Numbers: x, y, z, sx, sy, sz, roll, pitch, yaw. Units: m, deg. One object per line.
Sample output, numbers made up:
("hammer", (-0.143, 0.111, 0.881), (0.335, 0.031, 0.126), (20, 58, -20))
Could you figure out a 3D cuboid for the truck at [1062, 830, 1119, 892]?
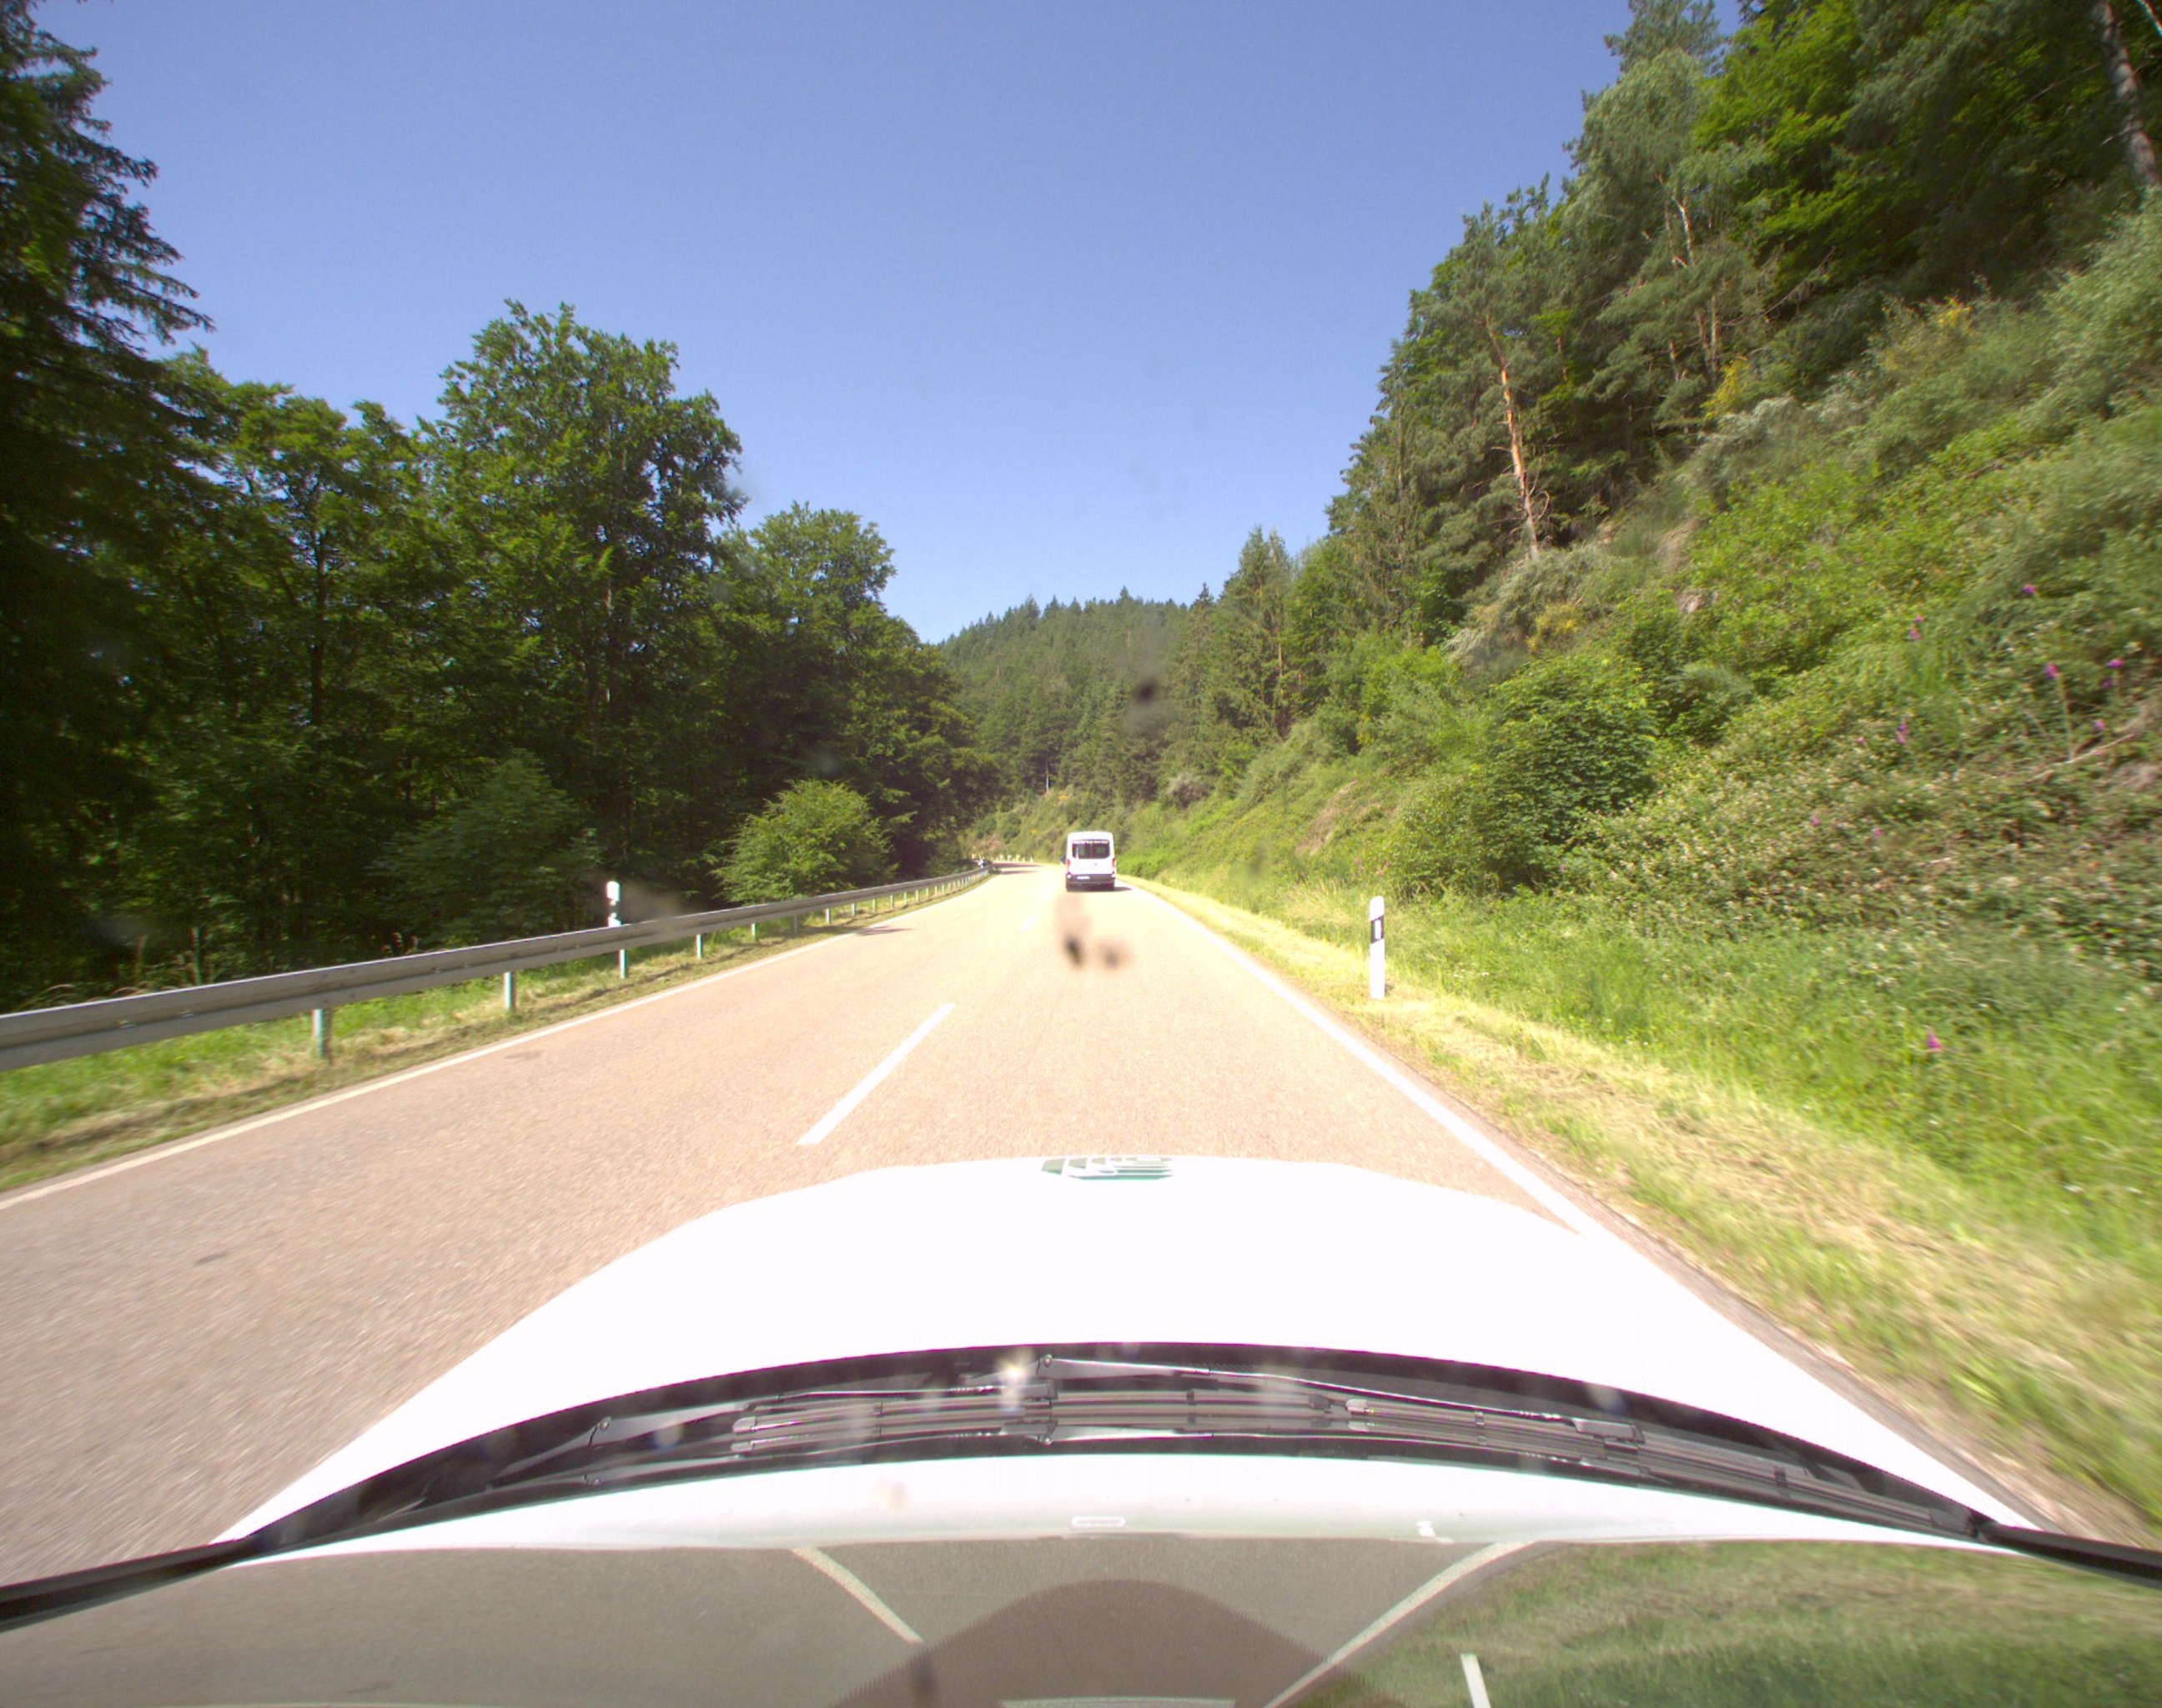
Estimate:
("truck", (0.323, 0.284, 35.281), (2.079, 2.459, 4.869), (-1, 0, -3))
